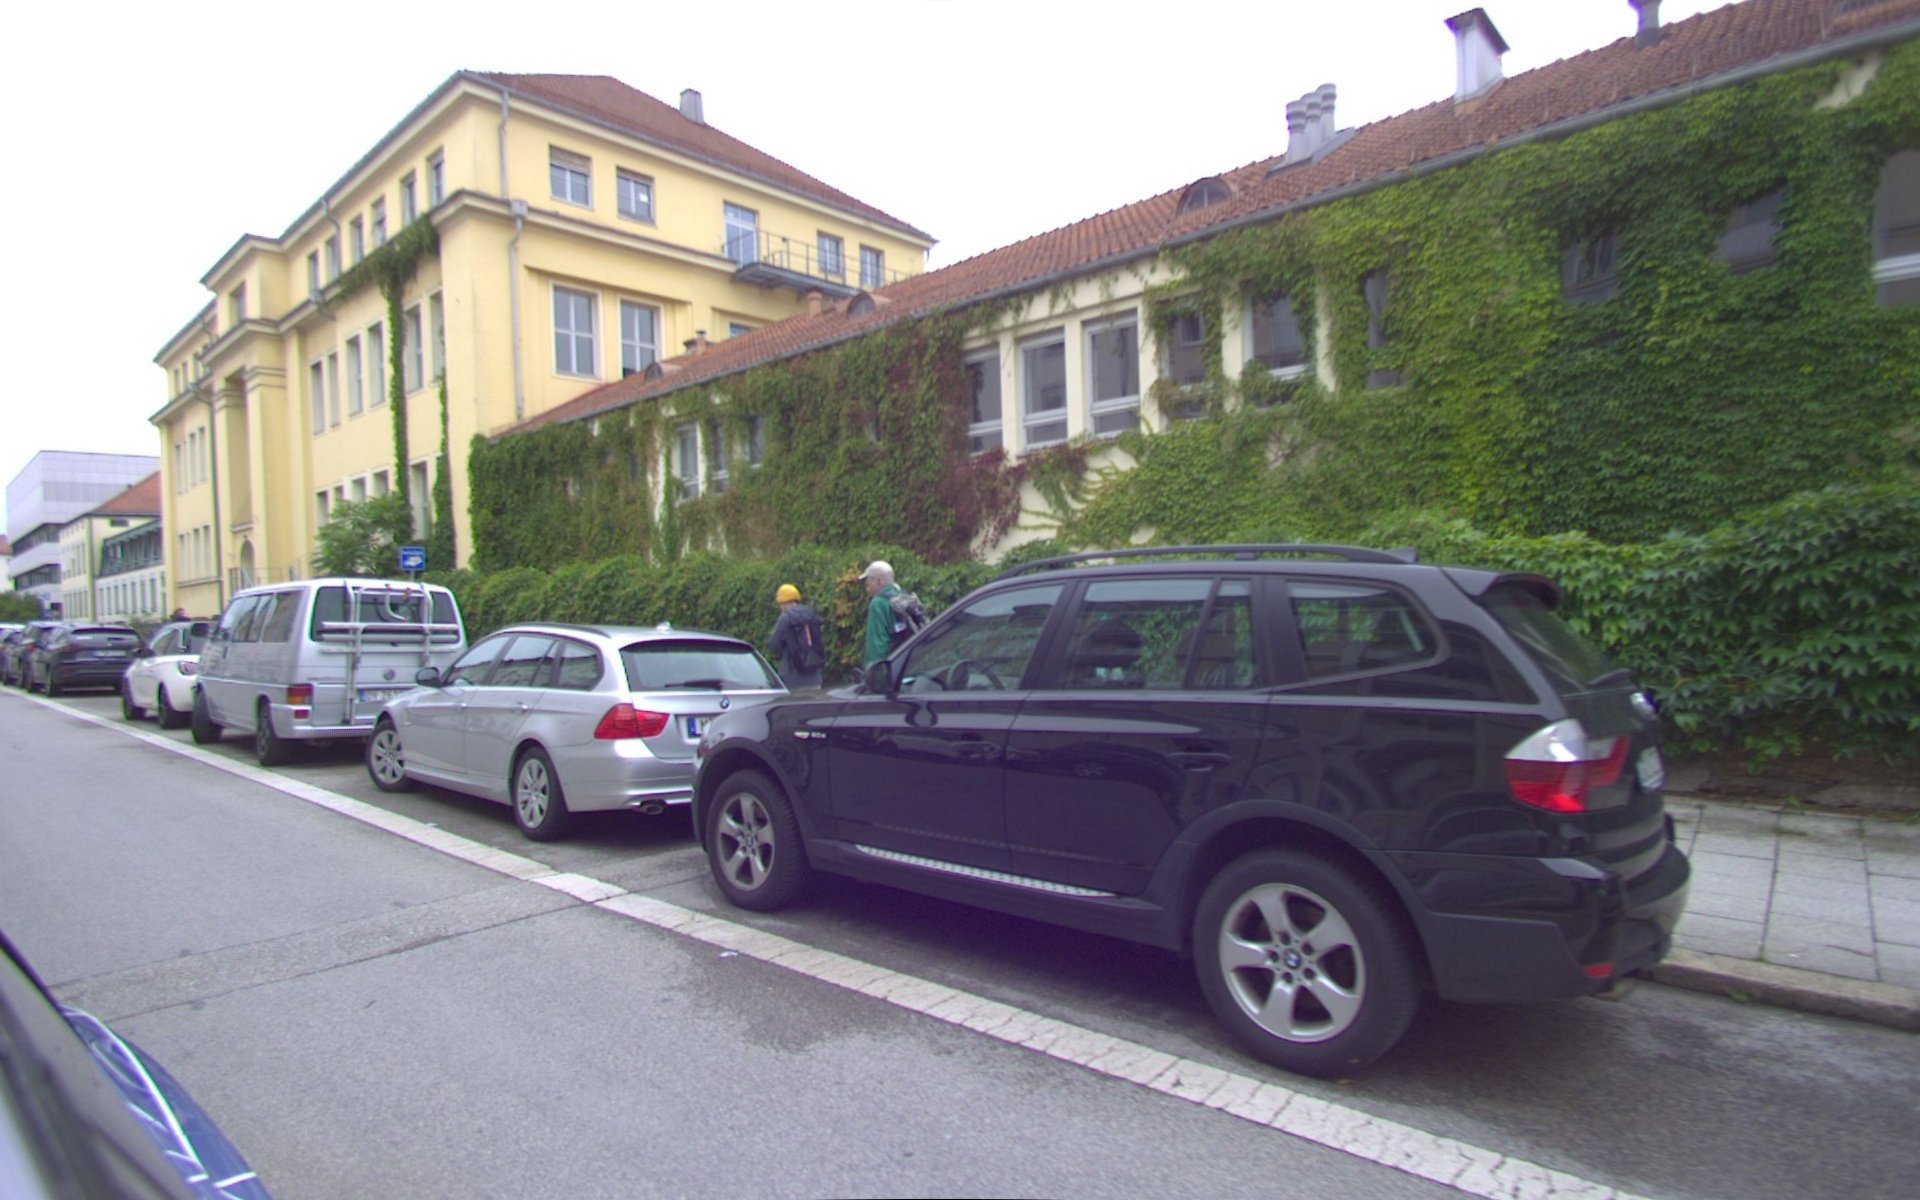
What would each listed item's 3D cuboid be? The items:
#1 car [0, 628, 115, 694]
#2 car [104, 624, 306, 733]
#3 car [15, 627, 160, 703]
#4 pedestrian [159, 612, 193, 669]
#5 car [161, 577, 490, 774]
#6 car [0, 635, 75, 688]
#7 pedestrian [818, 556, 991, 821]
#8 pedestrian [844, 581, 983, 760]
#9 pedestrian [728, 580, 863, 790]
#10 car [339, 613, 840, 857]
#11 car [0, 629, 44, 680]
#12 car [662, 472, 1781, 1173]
[{"bbox_3d":[-22.702,1.490,25.311,4.271,1.514,1.751,-2,-3,41],"label":"car"},{"bbox_3d":[-11.269,1.108,15.034,3.556,1.420,1.649,-2,-3,41],"label":"car"},{"bbox_3d":[-18.829,1.373,21.781,4.217,1.492,1.699,-2,-4,40],"label":"car"},{"bbox_3d":[-25.991,1.335,33.547,0.766,1.838,0.782,-1,-1,-45],"label":"pedestrian"},{"bbox_3d":[-7.455,0.820,11.666,4.879,1.812,1.873,-2,-5,42],"label":"car"},{"bbox_3d":[-26.945,1.749,28.912,4.597,1.419,1.755,-2,-4,40],"label":"car"},{"bbox_3d":[-0.401,0.594,7.351,0.872,1.768,0.834,-2,-1,42],"label":"pedestrian"},{"bbox_3d":[-0.420,0.600,9.118,0.872,1.506,0.834,-2,-1,43],"label":"pedestrian"},{"bbox_3d":[-1.393,0.679,8.544,0.872,1.665,0.675,-2,-1,41],"label":"pedestrian"},{"bbox_3d":[-3.116,0.876,7.974,4.490,1.388,1.784,-2,-5,42],"label":"car"},{"bbox_3d":[-32.764,1.844,34.403,4.295,1.653,1.764,-2,-4,39],"label":"car"},{"bbox_3d":[0.690,0.600,4.471,4.488,1.619,1.684,-2,-4,41],"label":"car"}]
